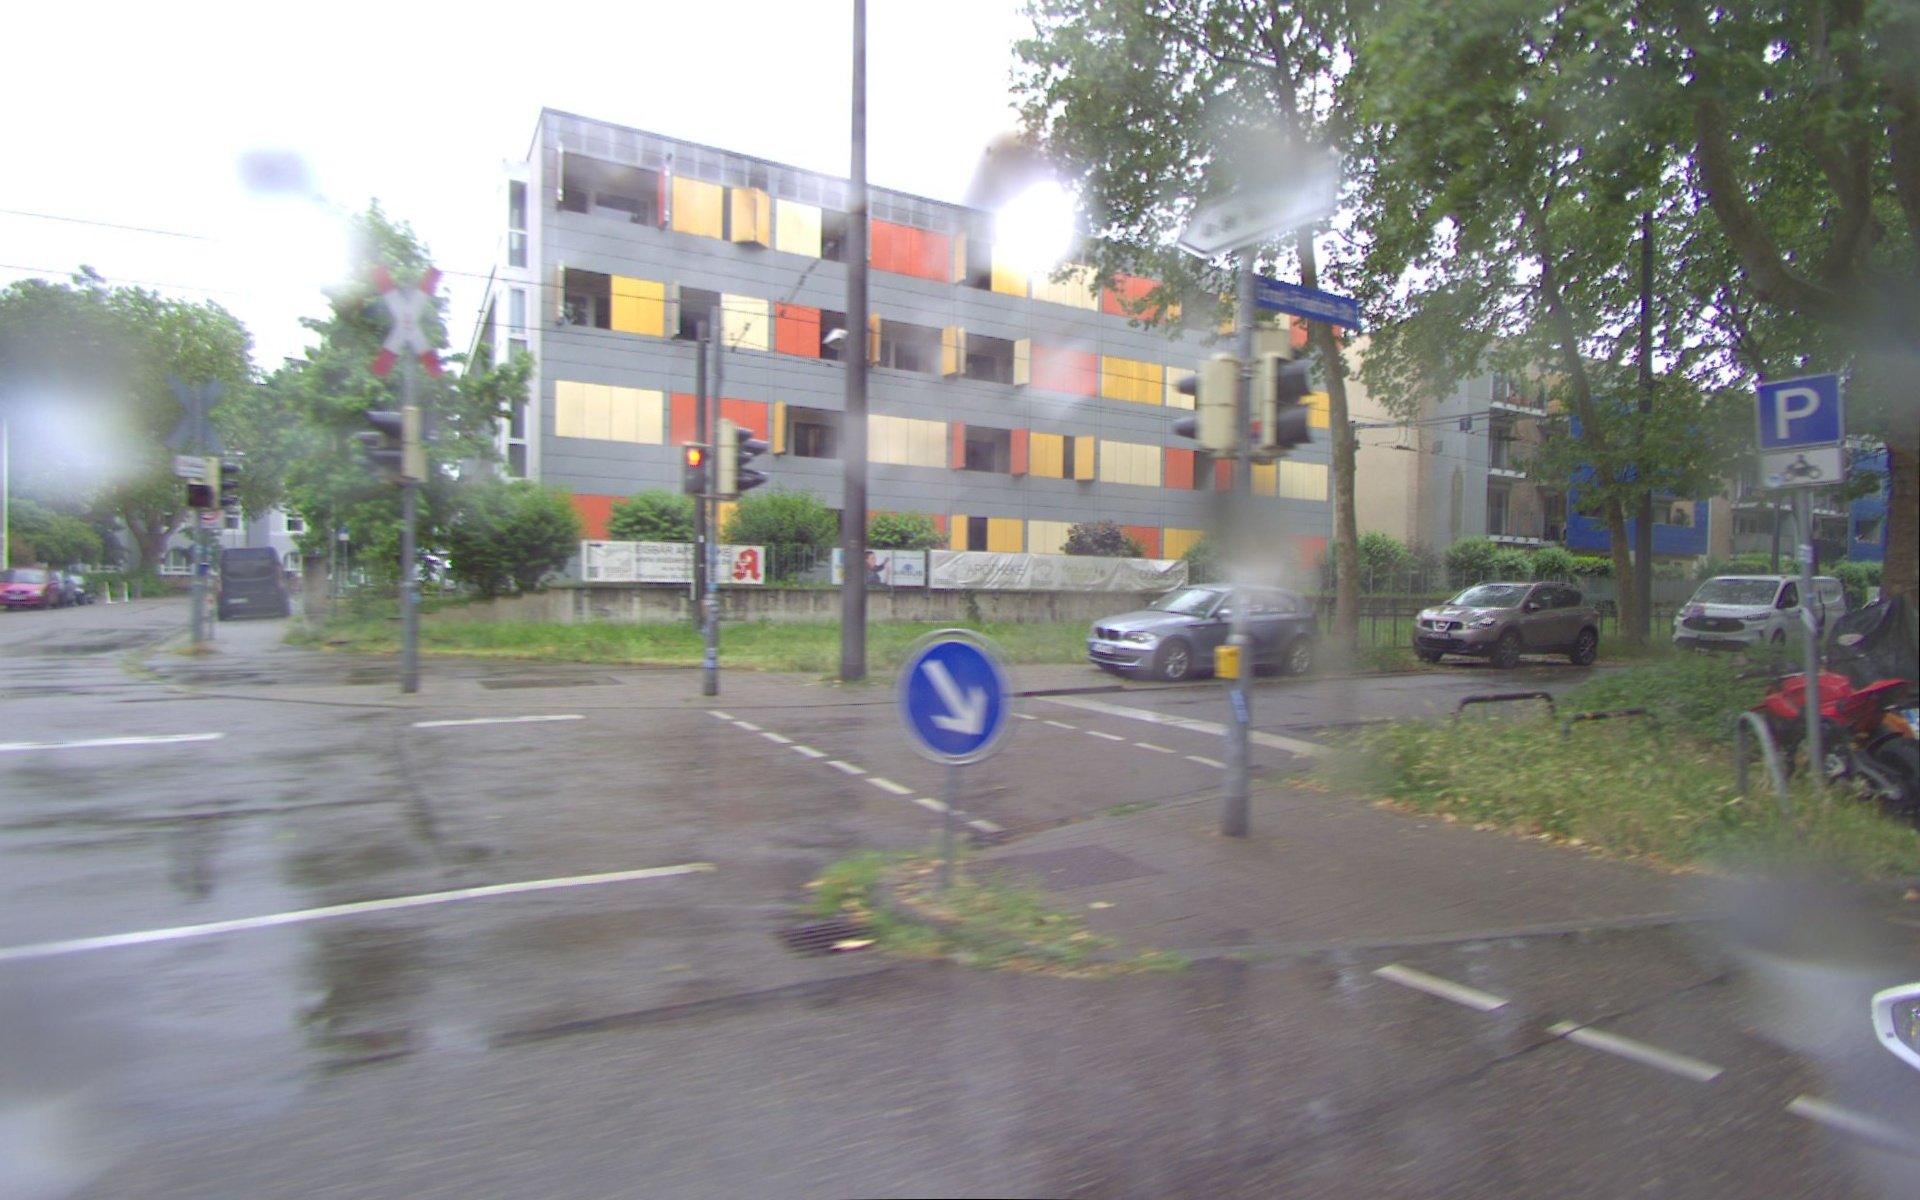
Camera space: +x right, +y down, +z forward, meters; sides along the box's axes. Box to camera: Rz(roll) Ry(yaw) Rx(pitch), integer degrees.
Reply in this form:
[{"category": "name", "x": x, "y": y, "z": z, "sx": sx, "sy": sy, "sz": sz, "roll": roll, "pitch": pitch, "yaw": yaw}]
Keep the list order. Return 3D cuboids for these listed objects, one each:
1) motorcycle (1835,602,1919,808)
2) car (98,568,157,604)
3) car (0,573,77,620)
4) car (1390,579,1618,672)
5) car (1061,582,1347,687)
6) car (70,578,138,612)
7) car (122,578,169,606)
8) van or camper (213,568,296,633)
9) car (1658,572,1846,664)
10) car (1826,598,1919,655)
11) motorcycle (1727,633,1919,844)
[{"category": "motorcycle", "x": 7.547, "y": 0.803, "z": 7.373, "sx": 0.756, "sy": 1.520, "sz": 2.110, "roll": 2, "pitch": 1, "yaw": 13}, {"category": "car", "x": -44.028, "y": -0.727, "z": 53.197, "sx": 1.872, "sy": 1.805, "sz": 3.965, "roll": 1, "pitch": 0, "yaw": -32}, {"category": "car", "x": -36.595, "y": -0.157, "z": 39.700, "sx": 1.979, "sy": 1.773, "sz": 3.963, "roll": 1, "pitch": 0, "yaw": -33}, {"category": "car", "x": 10.652, "y": 0.433, "z": 19.616, "sx": 4.414, "sy": 1.622, "sz": 1.895, "roll": 0, "pitch": 1, "yaw": -30}, {"category": "car", "x": 3.953, "y": 0.469, "z": 16.163, "sx": 4.334, "sy": 1.483, "sz": 1.896, "roll": 0, "pitch": 1, "yaw": -29}, {"category": "car", "x": -40.170, "y": -0.237, "z": 47.239, "sx": 1.845, "sy": 1.522, "sz": 3.965, "roll": 1, "pitch": 0, "yaw": -32}, {"category": "car", "x": -47.128, "y": -0.467, "z": 58.176, "sx": 1.658, "sy": 1.558, "sz": 3.965, "roll": 1, "pitch": 0, "yaw": -32}, {"category": "van or camper", "x": -23.842, "y": -0.034, "z": 34.073, "sx": 1.977, "sy": 2.041, "sz": 3.966, "roll": 0, "pitch": 2, "yaw": -31}, {"category": "car", "x": 19.721, "y": 0.374, "z": 24.932, "sx": 5.377, "sy": 2.024, "sz": 2.041, "roll": 0, "pitch": 3, "yaw": -34}, {"category": "car", "x": 27.678, "y": 0.731, "z": 29.734, "sx": 4.168, "sy": 1.555, "sz": 1.894, "roll": 0, "pitch": 1, "yaw": -31}, {"category": "motorcycle", "x": 6.608, "y": 0.917, "z": 7.296, "sx": 0.851, "sy": 1.225, "sz": 2.143, "roll": 2, "pitch": 1, "yaw": 15}]
